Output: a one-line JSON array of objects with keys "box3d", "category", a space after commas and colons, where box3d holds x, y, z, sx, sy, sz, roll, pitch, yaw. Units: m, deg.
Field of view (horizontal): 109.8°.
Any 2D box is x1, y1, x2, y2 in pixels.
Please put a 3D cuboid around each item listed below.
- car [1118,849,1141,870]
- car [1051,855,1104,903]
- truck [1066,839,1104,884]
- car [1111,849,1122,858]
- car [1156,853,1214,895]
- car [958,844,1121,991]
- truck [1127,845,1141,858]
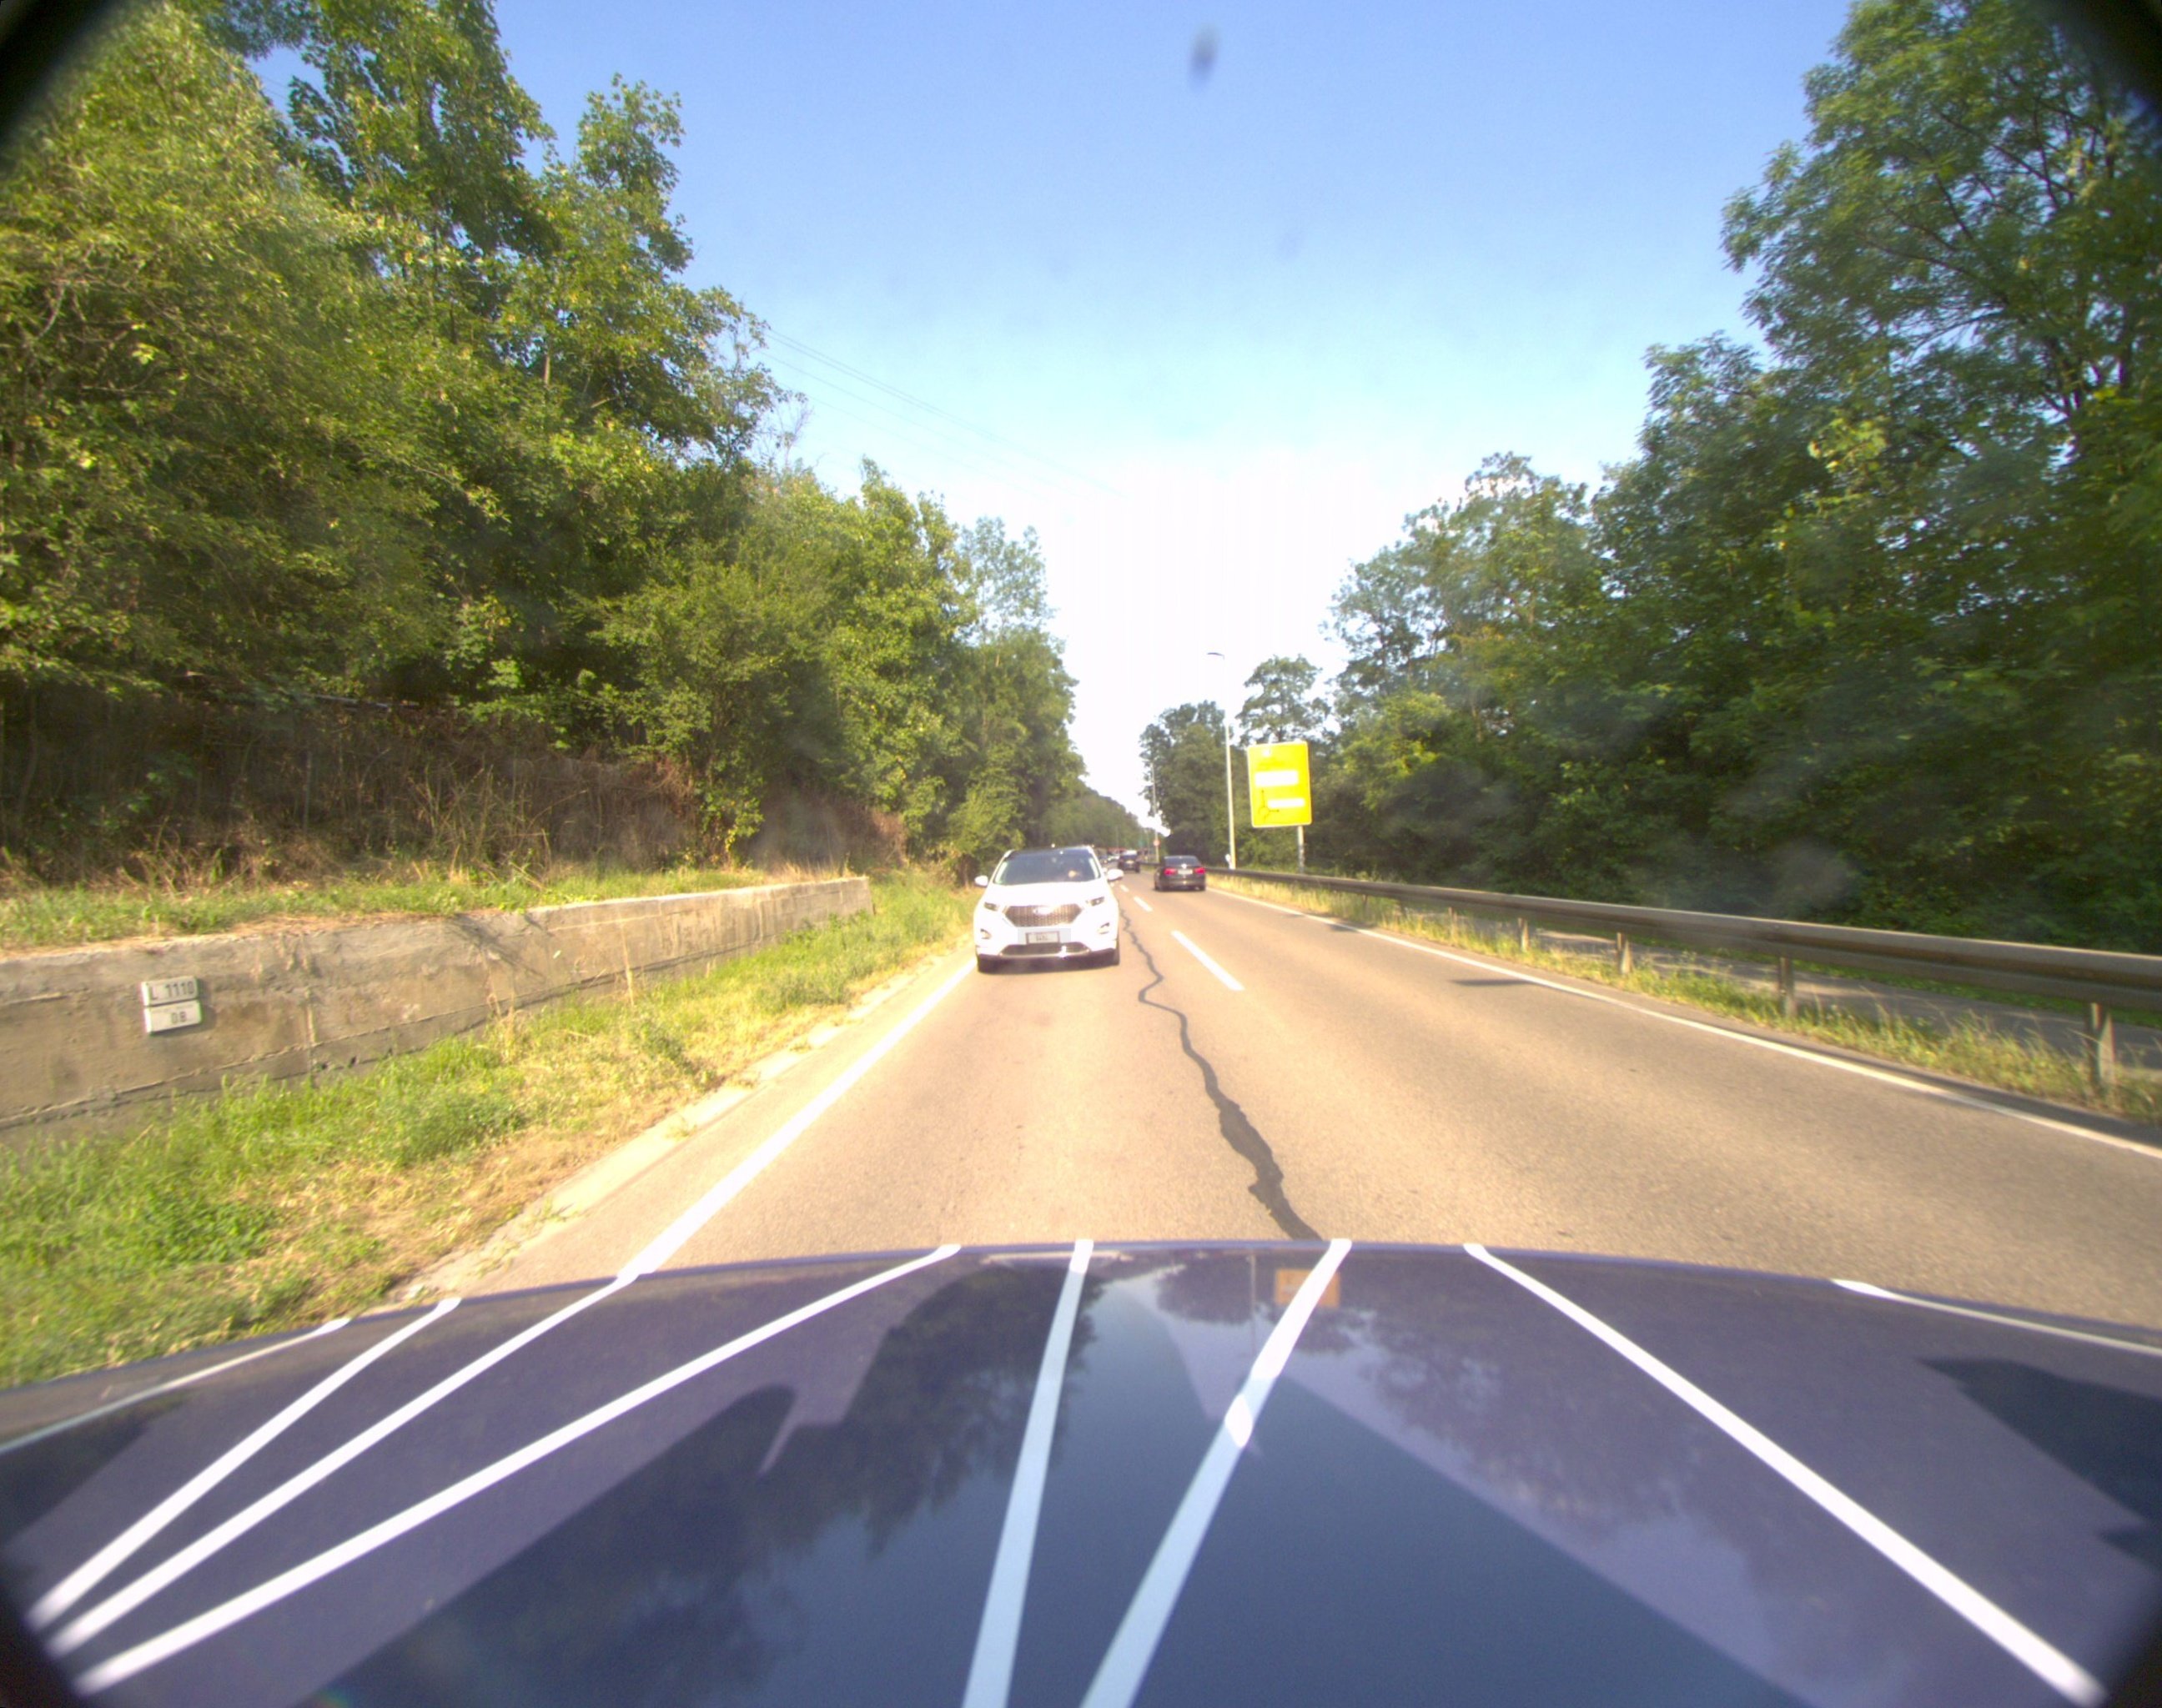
[{"box3d": [4.092, 0.443, 64.190, 1.752, 1.707, 4.221, -2, 0, 2], "category": "car"}, {"box3d": [-0.087, 0.828, 27.199, 1.704, 1.477, 4.136, -3, 0, 1], "category": "car"}, {"box3d": [0.252, 0.401, 43.402, 1.894, 2.334, 5.273, -3, 0, 1], "category": "truck"}, {"box3d": [8.132, -0.121, 174.604, 1.997, 2.002, 4.002, -1, 0, 8], "category": "car"}, {"box3d": [3.905, 0.712, 29.208, 1.696, 1.412, 4.142, -2, 0, 1], "category": "car"}, {"box3d": [-0.478, 0.779, 11.391, 1.894, 1.691, 4.136, -4, 0, 1], "category": "car"}, {"box3d": [10.277, -0.489, 146.814, 2.061, 2.371, 5.875, -3, 1, 8], "category": "truck"}]
